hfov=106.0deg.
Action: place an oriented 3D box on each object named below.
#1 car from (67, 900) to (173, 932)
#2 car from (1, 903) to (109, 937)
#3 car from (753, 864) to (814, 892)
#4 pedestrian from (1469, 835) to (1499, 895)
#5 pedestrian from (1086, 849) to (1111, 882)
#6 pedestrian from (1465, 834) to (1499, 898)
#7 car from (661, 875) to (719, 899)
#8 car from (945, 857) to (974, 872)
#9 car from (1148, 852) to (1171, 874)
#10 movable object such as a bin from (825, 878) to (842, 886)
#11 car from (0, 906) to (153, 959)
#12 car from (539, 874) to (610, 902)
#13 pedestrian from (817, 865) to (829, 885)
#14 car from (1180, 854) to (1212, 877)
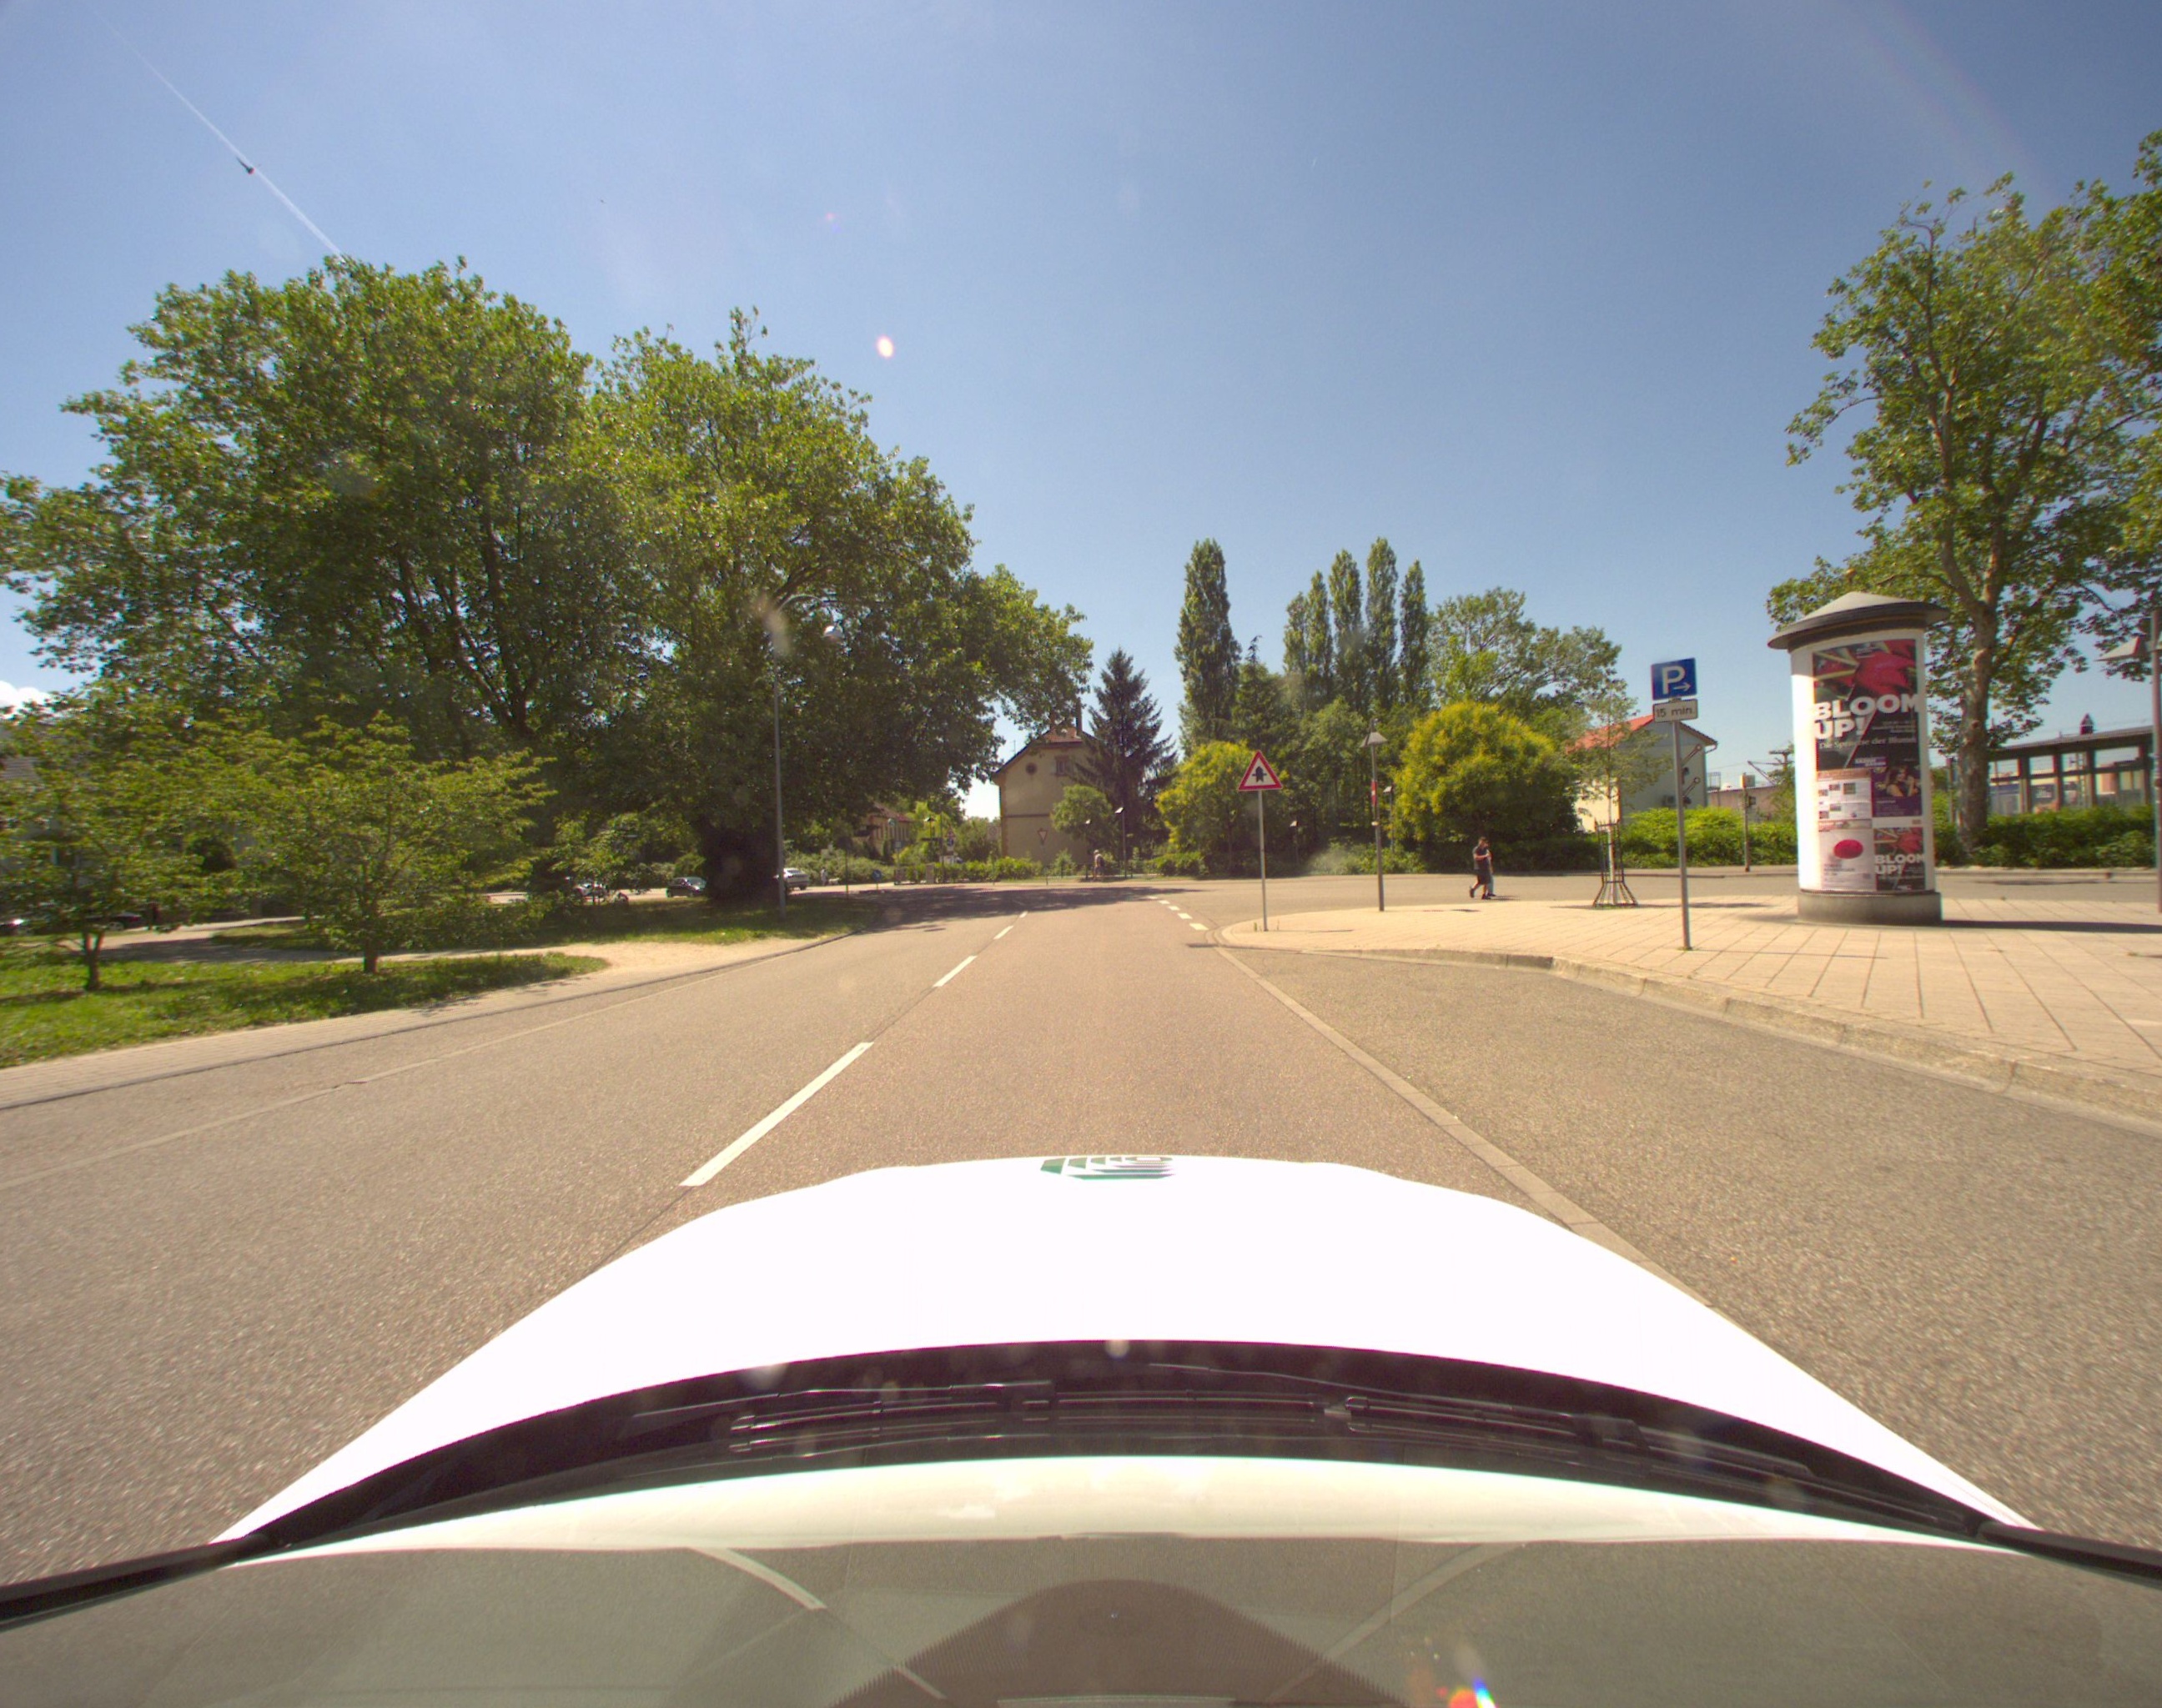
[{"bbox_3d":[-49.005,3.150,41.539,3.956,1.426,2.008,-2,-1,16],"label":"car"},{"bbox_3d":[-48.692,3.146,38.659,3.955,1.435,1.889,-2,-1,18],"label":"car"},{"bbox_3d":[-21.878,1.795,59.858,4.413,1.615,1.953,-5,-10,35],"label":"car"},{"bbox_3d":[12.039,0.315,24.351,0.668,1.736,0.920,-2,-1,20],"label":"pedestrian"},{"bbox_3d":[1.001,0.651,45.877,0.920,1.771,0.905,-6,2,-38],"label":"pedestrian"},{"bbox_3d":[11.454,0.332,23.283,0.687,1.785,0.919,-2,-1,19],"label":"pedestrian"},{"bbox_3d":[-26.259,2.222,54.700,3.948,1.417,1.657,-3,1,34],"label":"car"},{"bbox_3d":[-20.392,1.711,136.975,4.424,2.322,2.205,-2,0,4],"label":"car"},{"bbox_3d":[6.001,0.661,62.067,1.642,1.536,3.976,-2,0,6],"label":"car"},{"bbox_3d":[-20.819,2.344,68.459,0.510,0.594,1.251,-2,0,36],"label":"movable object such as a bin"},{"bbox_3d":[-41.632,3.170,33.247,1.976,1.778,4.531,-2,0,23],"label":"car"},{"bbox_3d":[-38.704,2.608,62.271,4.279,1.747,2.057,-4,1,13],"label":"car"},{"bbox_3d":[-21.764,1.780,68.625,0.691,1.627,0.621,-1,0,34],"label":"pedestrian"},{"bbox_3d":[8.080,0.800,57.493,1.758,1.499,4.502,-2,0,2],"label":"car"}]
